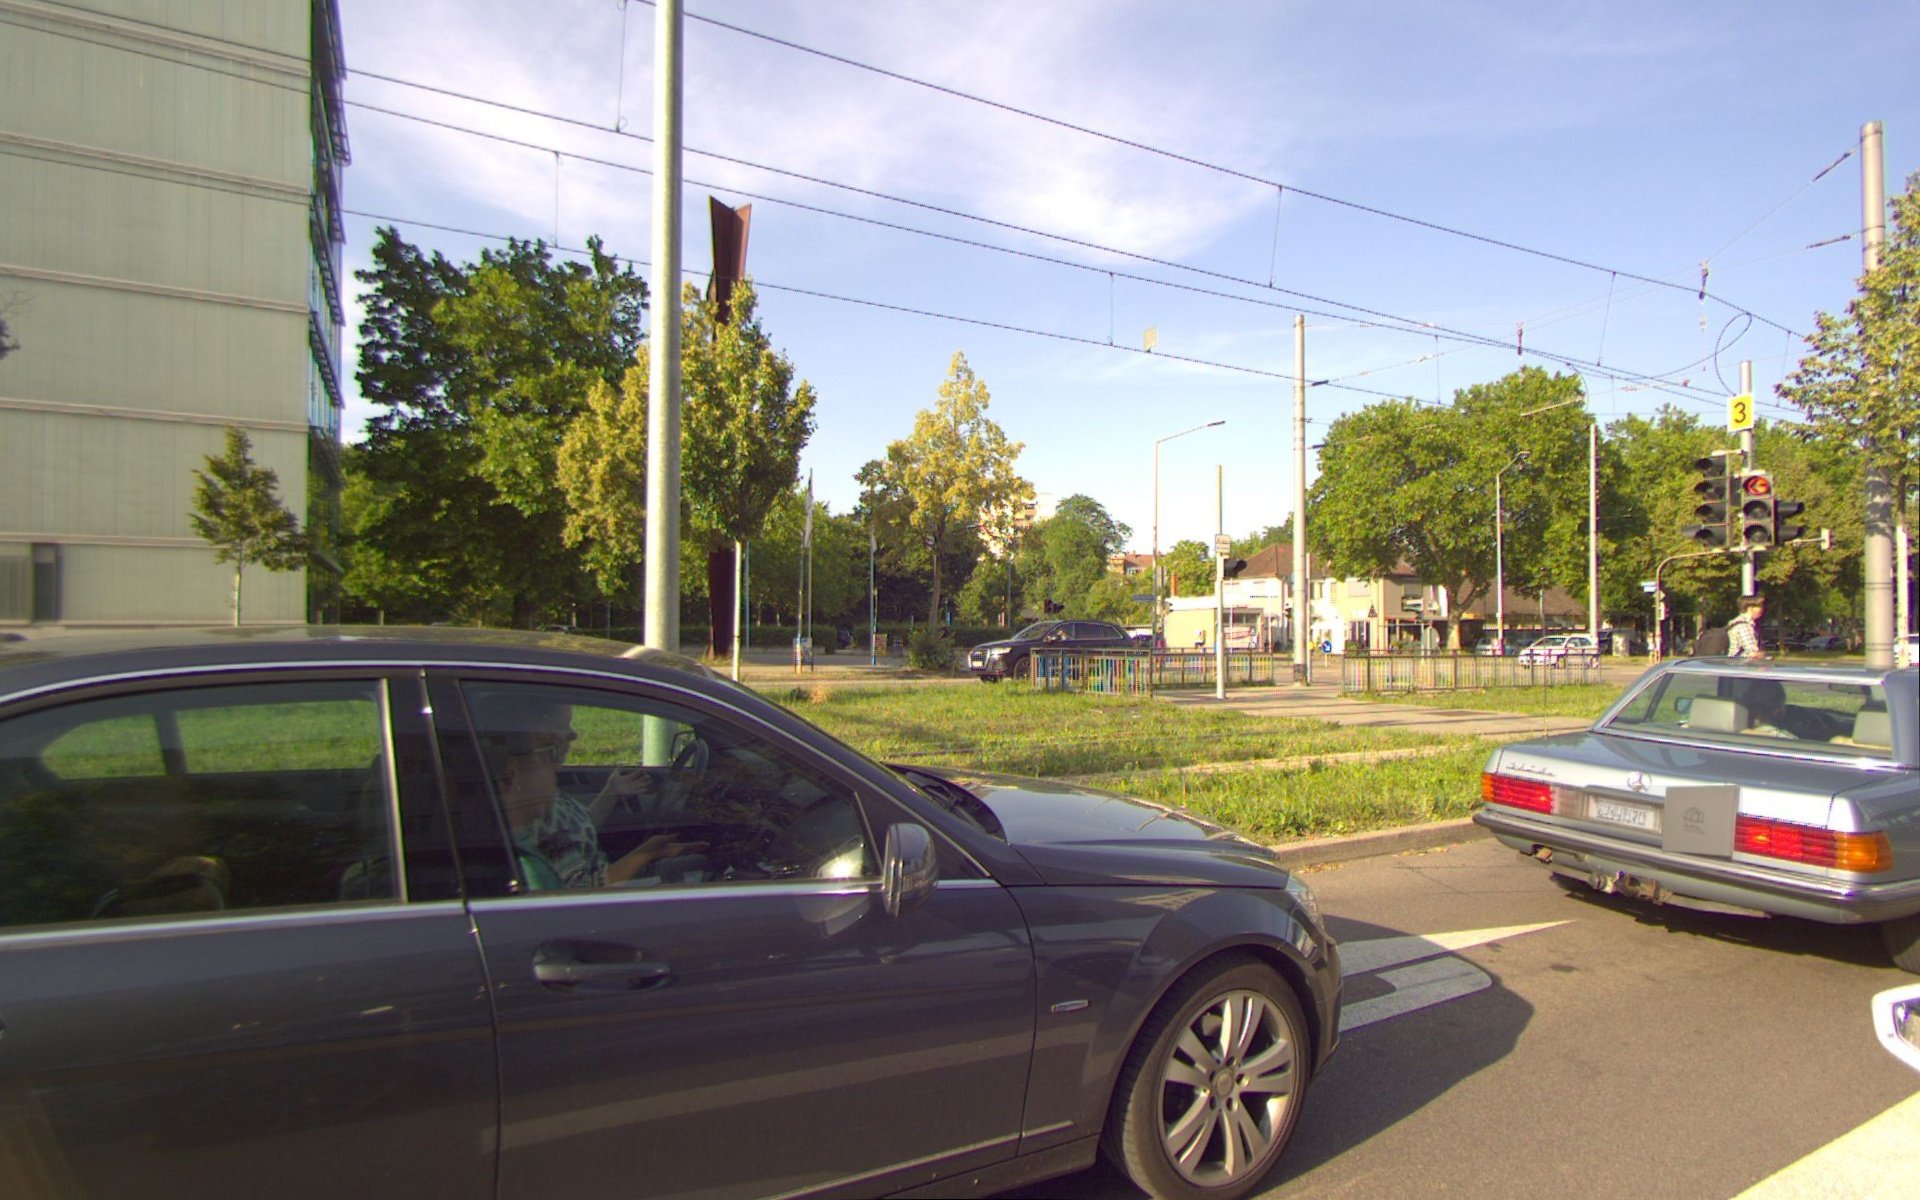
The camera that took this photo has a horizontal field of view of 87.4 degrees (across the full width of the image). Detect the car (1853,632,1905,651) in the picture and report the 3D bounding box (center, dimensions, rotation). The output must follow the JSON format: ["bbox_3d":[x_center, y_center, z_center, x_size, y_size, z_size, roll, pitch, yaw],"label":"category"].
[{"bbox_3d":[78.847,3.557,86.163,3.944,1.580,1.877,1,-2,-24],"label":"car"}]

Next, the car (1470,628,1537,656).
[{"bbox_3d":[35.655,2.772,65.942,3.944,1.773,1.877,1,-2,-24],"label":"car"}]

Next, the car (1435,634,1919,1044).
[{"bbox_3d":[4.715,0.907,5.414,4.348,1.348,1.755,1,0,-30],"label":"car"}]

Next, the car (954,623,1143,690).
[{"bbox_3d":[2.461,1.491,27.615,4.932,1.707,1.986,1,-1,-28],"label":"car"}]

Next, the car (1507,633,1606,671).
[{"bbox_3d":[26.069,2.243,43.891,4.171,1.548,1.869,1,-1,-29],"label":"car"}]

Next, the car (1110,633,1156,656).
[{"bbox_3d":[14.130,3.631,82.368,1.971,1.750,3.980,1,-2,-22],"label":"car"}]

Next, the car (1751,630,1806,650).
[{"bbox_3d":[65.265,3.192,80.106,3.944,1.580,1.877,1,-2,-24],"label":"car"}]

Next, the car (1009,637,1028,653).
[{"bbox_3d":[6.738,5.206,116.953,1.961,1.806,4.000,0,-2,0],"label":"car"}]

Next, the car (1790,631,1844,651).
[{"bbox_3d":[70.281,3.333,82.391,3.944,1.580,1.877,1,-2,-24],"label":"car"}]

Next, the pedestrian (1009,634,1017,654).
[{"bbox_3d":[4.313,3.574,81.591,0.654,1.654,0.664,0,-1,-1],"label":"pedestrian"}]

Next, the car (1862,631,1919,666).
[{"bbox_3d":[43.704,2.246,46.273,4.043,1.524,1.985,2,-3,-29],"label":"car"}]

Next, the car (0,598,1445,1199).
[{"bbox_3d":[-0.986,0.765,2.507,4.299,1.498,1.779,1,0,-28],"label":"car"}]

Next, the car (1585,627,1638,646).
[{"bbox_3d":[54.573,3.073,84.110,3.944,1.580,1.877,1,-2,-24],"label":"car"}]

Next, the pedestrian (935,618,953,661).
[{"bbox_3d":[-0.792,1.998,50.816,0.864,2.135,0.724,-1,-3,0],"label":"pedestrian"}]

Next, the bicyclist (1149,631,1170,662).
[{"bbox_3d":[10.096,2.349,50.910,0.837,1.512,0.697,-1,-2,39],"label":"bicyclist"}]
